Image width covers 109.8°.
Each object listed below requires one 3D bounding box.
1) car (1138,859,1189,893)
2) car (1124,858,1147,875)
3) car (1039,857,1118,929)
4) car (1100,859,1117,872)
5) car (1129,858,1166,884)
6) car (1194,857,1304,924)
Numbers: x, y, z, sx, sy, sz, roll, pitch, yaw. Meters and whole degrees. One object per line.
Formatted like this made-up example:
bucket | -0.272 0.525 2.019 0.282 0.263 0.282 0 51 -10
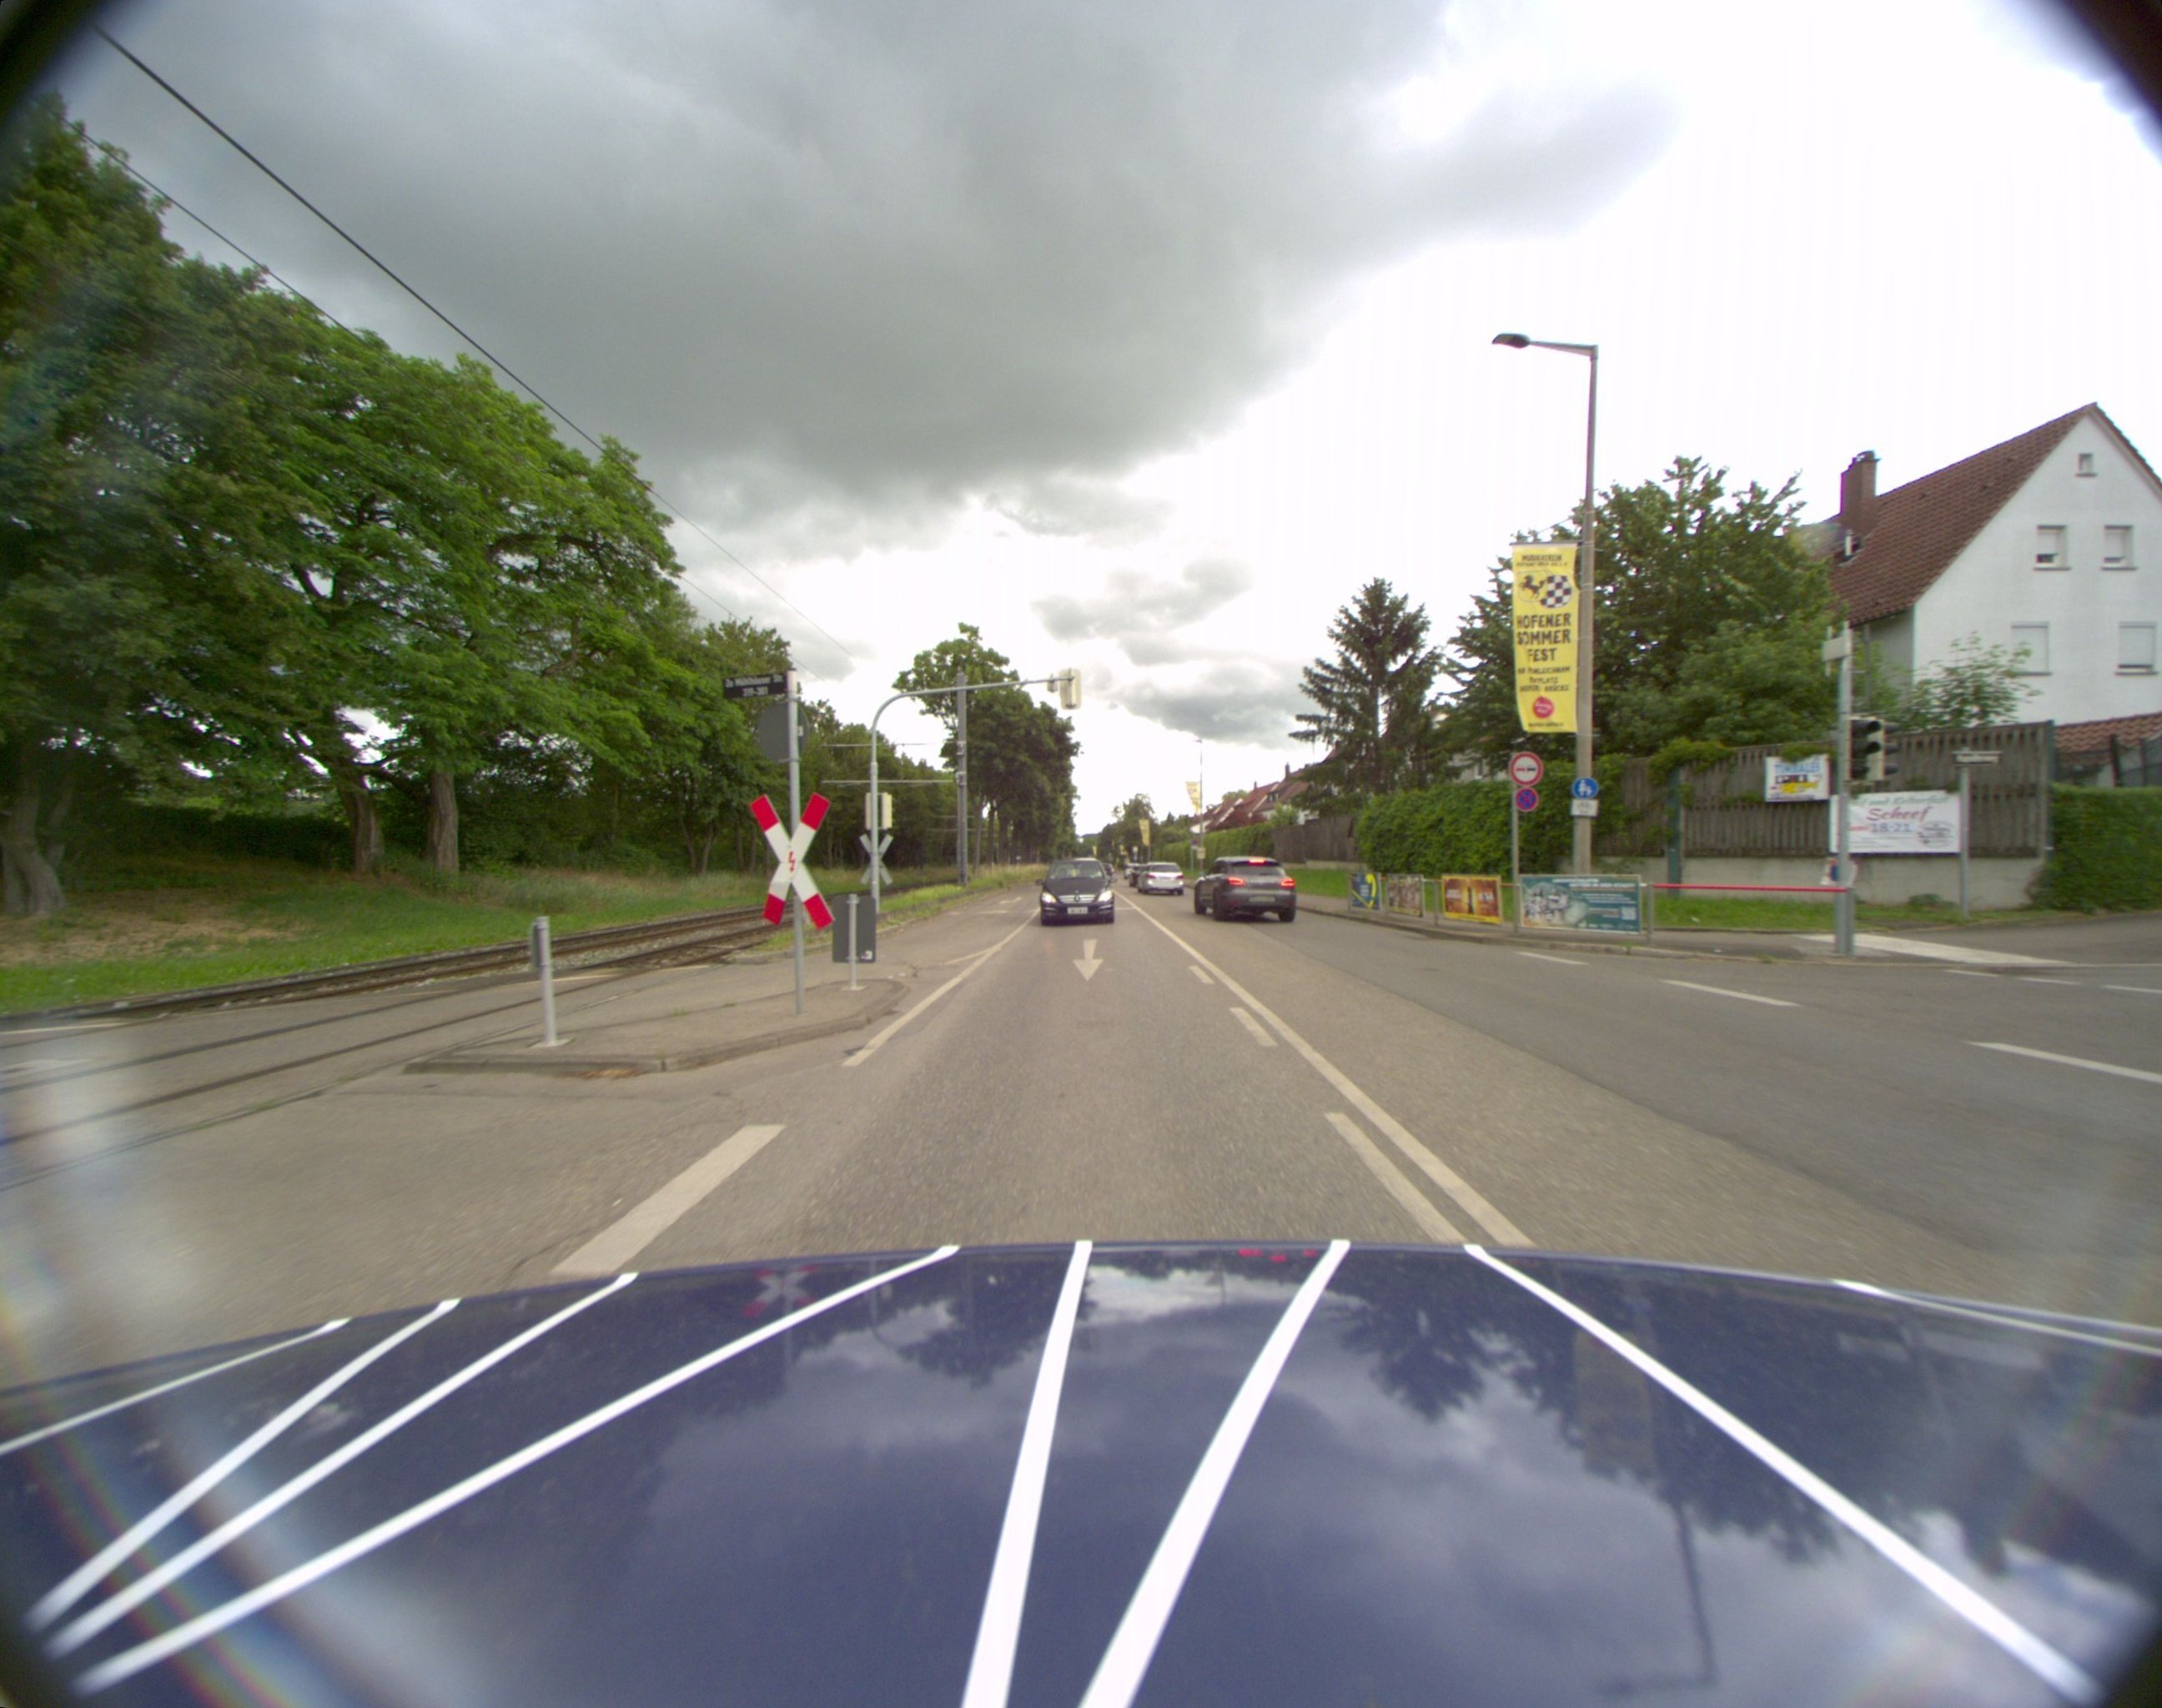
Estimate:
car | 3.803 0.972 35.763 1.880 1.501 4.207 0 0 -1
car | 5.329 1.222 74.587 1.904 1.569 4.121 0 0 -1
car | -0.080 0.909 19.424 1.749 1.558 4.121 -3 0 -1
car | 3.401 1.402 94.542 1.904 1.569 4.121 0 0 -1
car | 4.160 1.053 47.868 1.904 1.569 4.121 0 0 -1
car | 4.254 0.865 19.969 1.904 1.569 4.278 0 0 -1
